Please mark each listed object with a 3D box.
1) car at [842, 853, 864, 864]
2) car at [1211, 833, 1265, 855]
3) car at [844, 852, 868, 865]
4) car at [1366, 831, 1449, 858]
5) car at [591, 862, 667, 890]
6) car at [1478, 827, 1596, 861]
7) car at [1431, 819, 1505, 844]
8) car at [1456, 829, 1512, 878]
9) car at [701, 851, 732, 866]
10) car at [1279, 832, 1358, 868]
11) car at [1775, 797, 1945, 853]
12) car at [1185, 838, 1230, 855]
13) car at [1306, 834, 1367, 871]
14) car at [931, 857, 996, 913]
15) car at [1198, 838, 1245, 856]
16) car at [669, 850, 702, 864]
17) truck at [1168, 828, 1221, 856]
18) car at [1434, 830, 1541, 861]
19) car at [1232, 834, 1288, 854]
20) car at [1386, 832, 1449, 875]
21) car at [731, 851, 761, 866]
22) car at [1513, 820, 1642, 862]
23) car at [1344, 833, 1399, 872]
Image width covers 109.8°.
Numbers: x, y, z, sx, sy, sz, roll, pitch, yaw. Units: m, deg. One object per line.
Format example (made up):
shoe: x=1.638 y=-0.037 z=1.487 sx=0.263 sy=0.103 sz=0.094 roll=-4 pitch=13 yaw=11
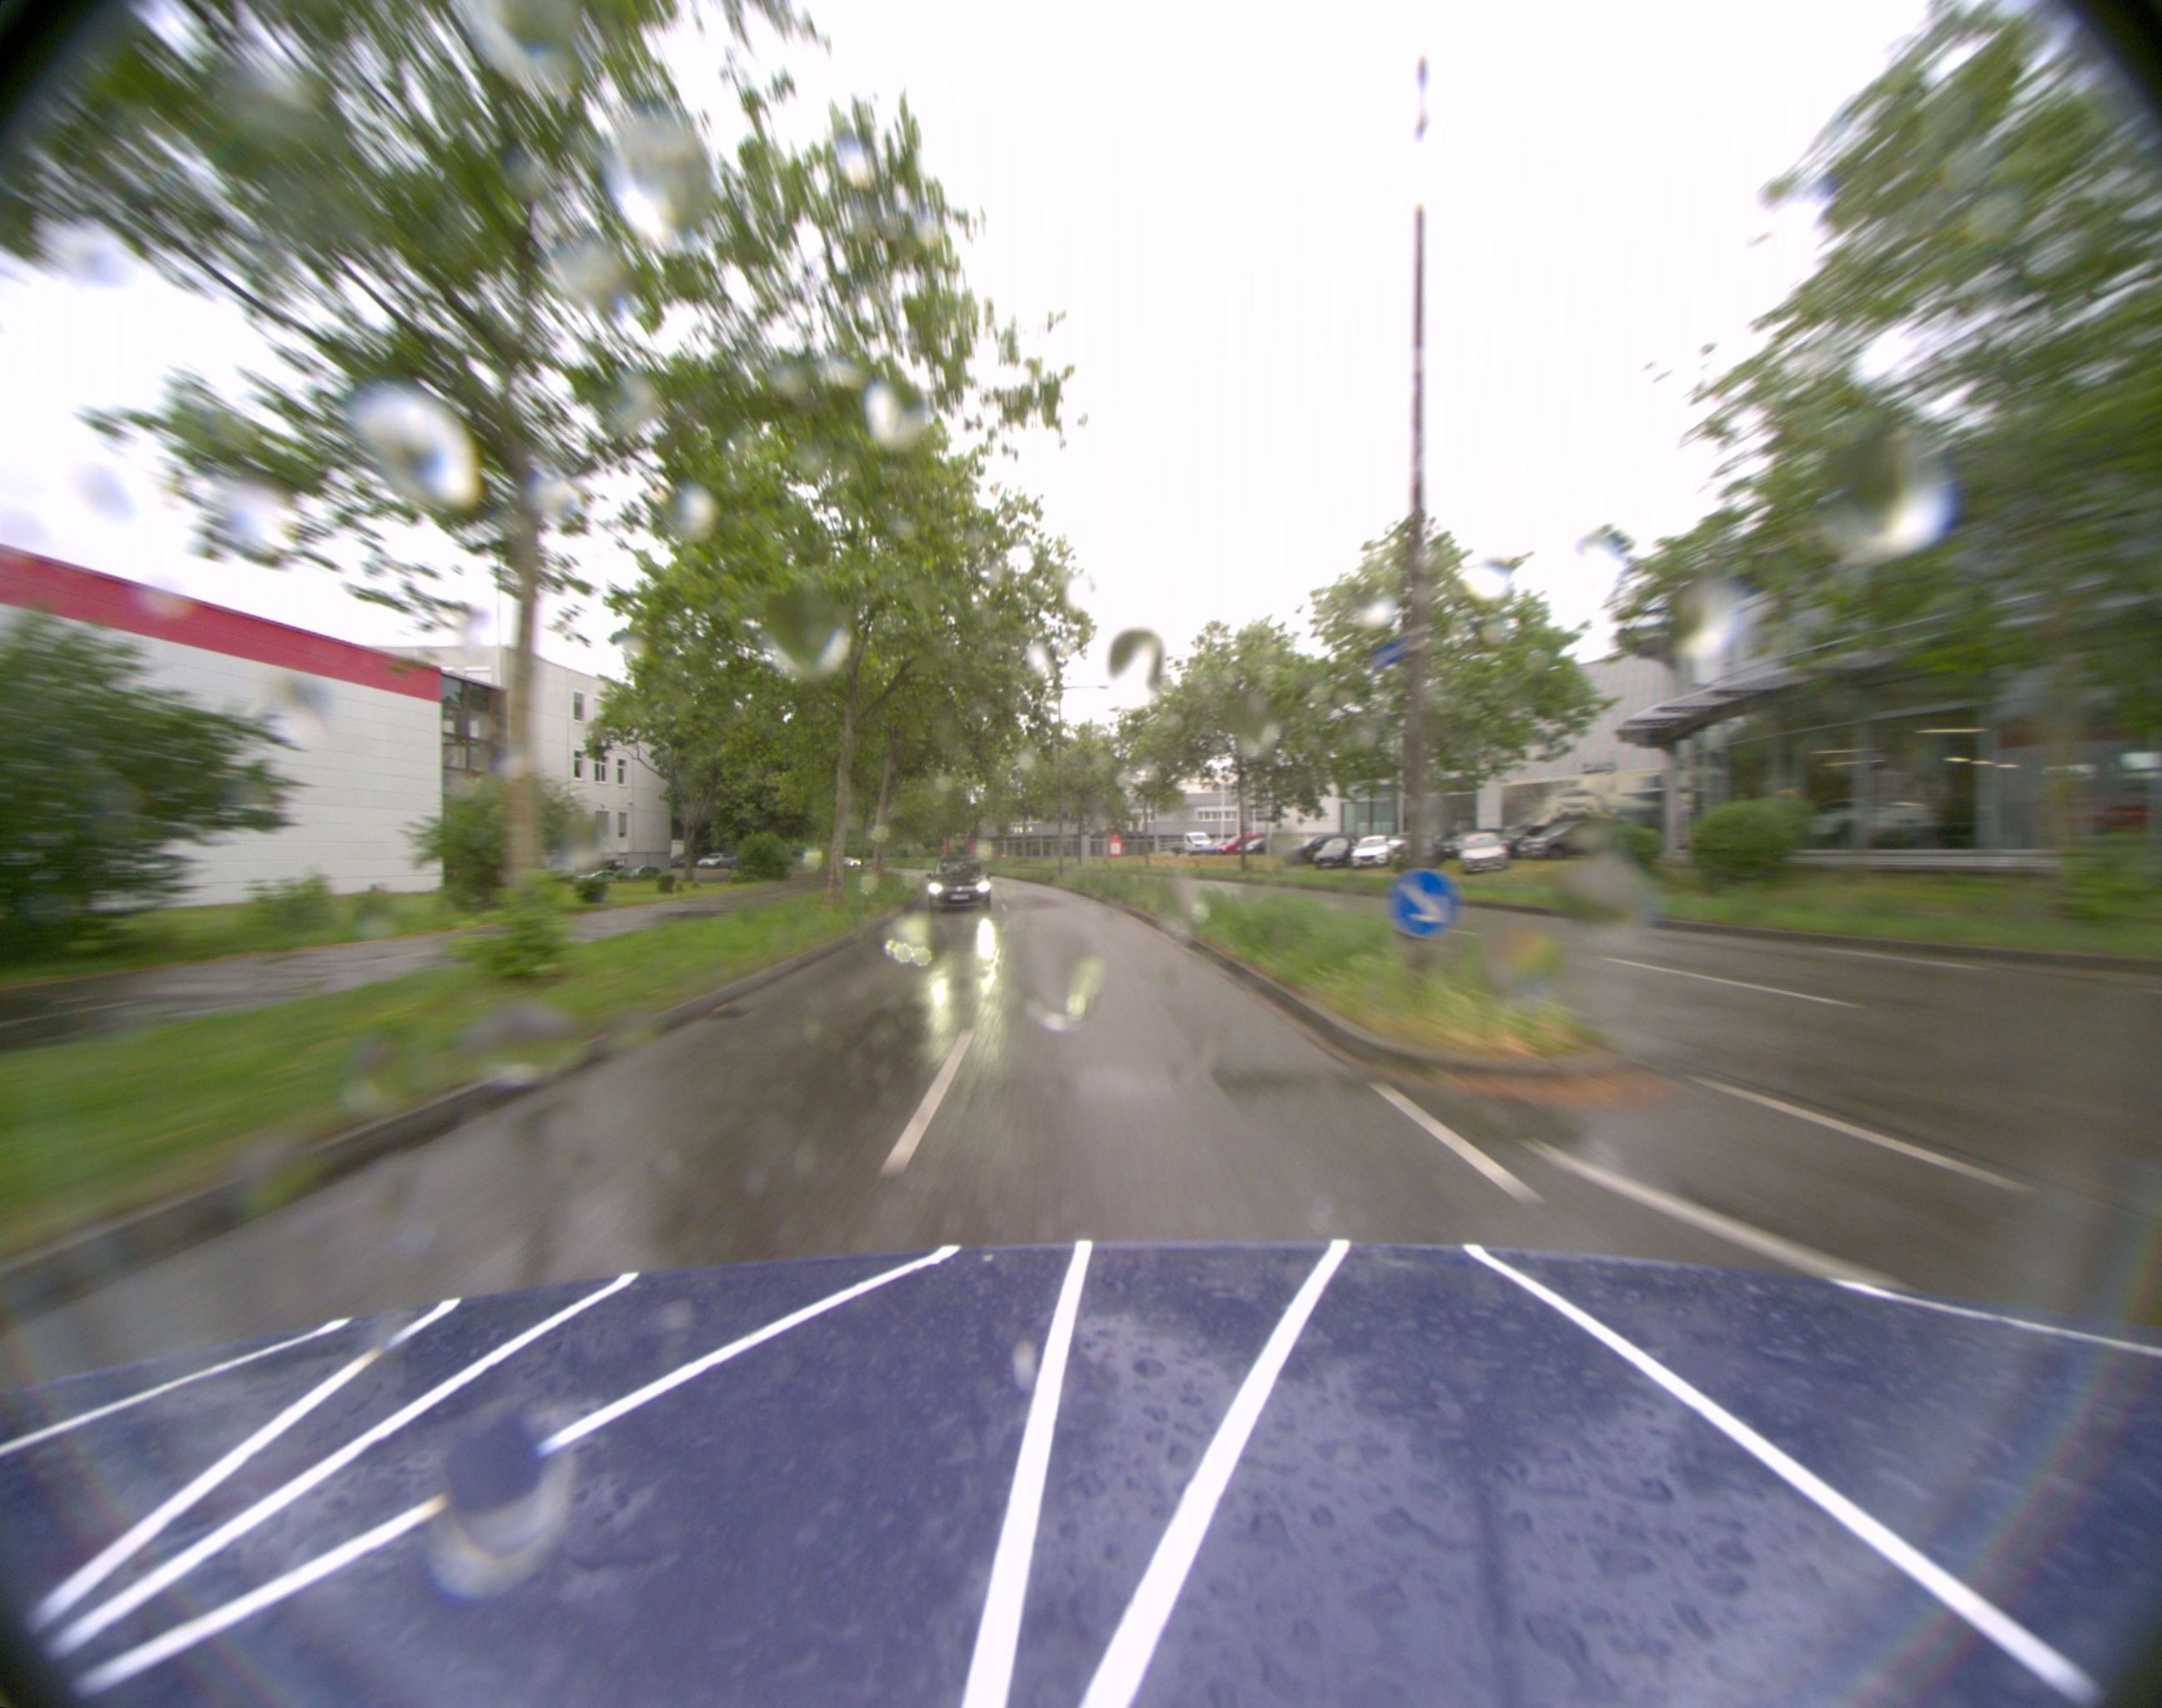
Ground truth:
car: x=-31.067 y=0.594 z=103.544 sx=1.788 sy=1.546 sz=3.990 roll=-1 pitch=1 yaw=-32
car: x=13.284 y=-0.842 z=64.380 sx=4.012 sy=1.548 sz=1.844 roll=-4 pitch=1 yaw=-20
car: x=-28.054 y=0.527 z=94.600 sx=1.788 sy=1.546 sz=3.990 roll=-1 pitch=1 yaw=-32
car: x=19.117 y=-0.555 z=44.485 sx=4.441 sy=1.465 sz=1.916 roll=-2 pitch=1 yaw=-22
car: x=-27.092 y=1.276 z=45.722 sx=1.782 sy=1.467 sz=4.114 roll=-1 pitch=1 yaw=5
car: x=21.682 y=-0.462 z=36.304 sx=4.431 sy=1.465 sz=1.920 roll=-1 pitch=1 yaw=5
car: x=24.030 y=-1.397 z=47.104 sx=4.442 sy=1.465 sz=1.915 roll=-2 pitch=1 yaw=-29
car: x=16.913 y=-0.064 z=32.014 sx=1.781 sy=1.468 sz=4.004 roll=-7 pitch=2 yaw=26
car: x=-35.658 y=0.444 z=74.370 sx=1.598 sy=1.412 sz=3.704 roll=-1 pitch=1 yaw=-6
car: x=14.677 y=-0.280 z=47.244 sx=4.429 sy=1.548 sz=1.848 roll=-8 pitch=2 yaw=14
car: x=22.925 y=-0.808 z=22.604 sx=1.781 sy=1.467 sz=4.117 roll=-1 pitch=1 yaw=17
car: x=11.461 y=-0.697 z=69.047 sx=3.537 sy=1.319 sz=1.765 roll=-4 pitch=1 yaw=-20
car: x=14.544 y=-0.096 z=43.142 sx=1.843 sy=1.471 sz=4.135 roll=-7 pitch=3 yaw=39
car: x=-3.595 y=0.876 z=23.383 sx=1.785 sy=1.546 sz=3.997 roll=0 pitch=0 yaw=-8
car: x=12.318 y=-0.646 z=66.708 sx=3.537 sy=1.319 sz=1.765 roll=-4 pitch=1 yaw=-20
car: x=-38.234 y=0.272 z=73.506 sx=1.598 sy=1.350 sz=3.704 roll=-1 pitch=1 yaw=-6
truck: x=10.889 y=-1.136 z=73.539 sx=2.256 sy=2.331 sz=6.185 roll=-4 pitch=0 yaw=-19
car: x=20.757 y=-0.432 z=38.911 sx=4.431 sy=1.465 sz=1.920 roll=-1 pitch=1 yaw=5
car: x=14.603 y=-0.788 z=61.868 sx=4.012 sy=1.349 sz=1.844 roll=-4 pitch=1 yaw=-20
car: x=16.012 y=-0.059 z=36.049 sx=1.843 sy=1.415 sz=4.134 roll=-7 pitch=2 yaw=35
car: x=-32.777 y=0.395 z=74.317 sx=1.598 sy=1.350 sz=3.704 roll=-1 pitch=1 yaw=-6
car: x=22.111 y=-0.555 z=33.959 sx=4.431 sy=1.728 sz=1.920 roll=-1 pitch=1 yaw=5
car: x=15.476 y=-0.112 z=40.347 sx=1.843 sy=1.471 sz=4.134 roll=-7 pitch=2 yaw=31
